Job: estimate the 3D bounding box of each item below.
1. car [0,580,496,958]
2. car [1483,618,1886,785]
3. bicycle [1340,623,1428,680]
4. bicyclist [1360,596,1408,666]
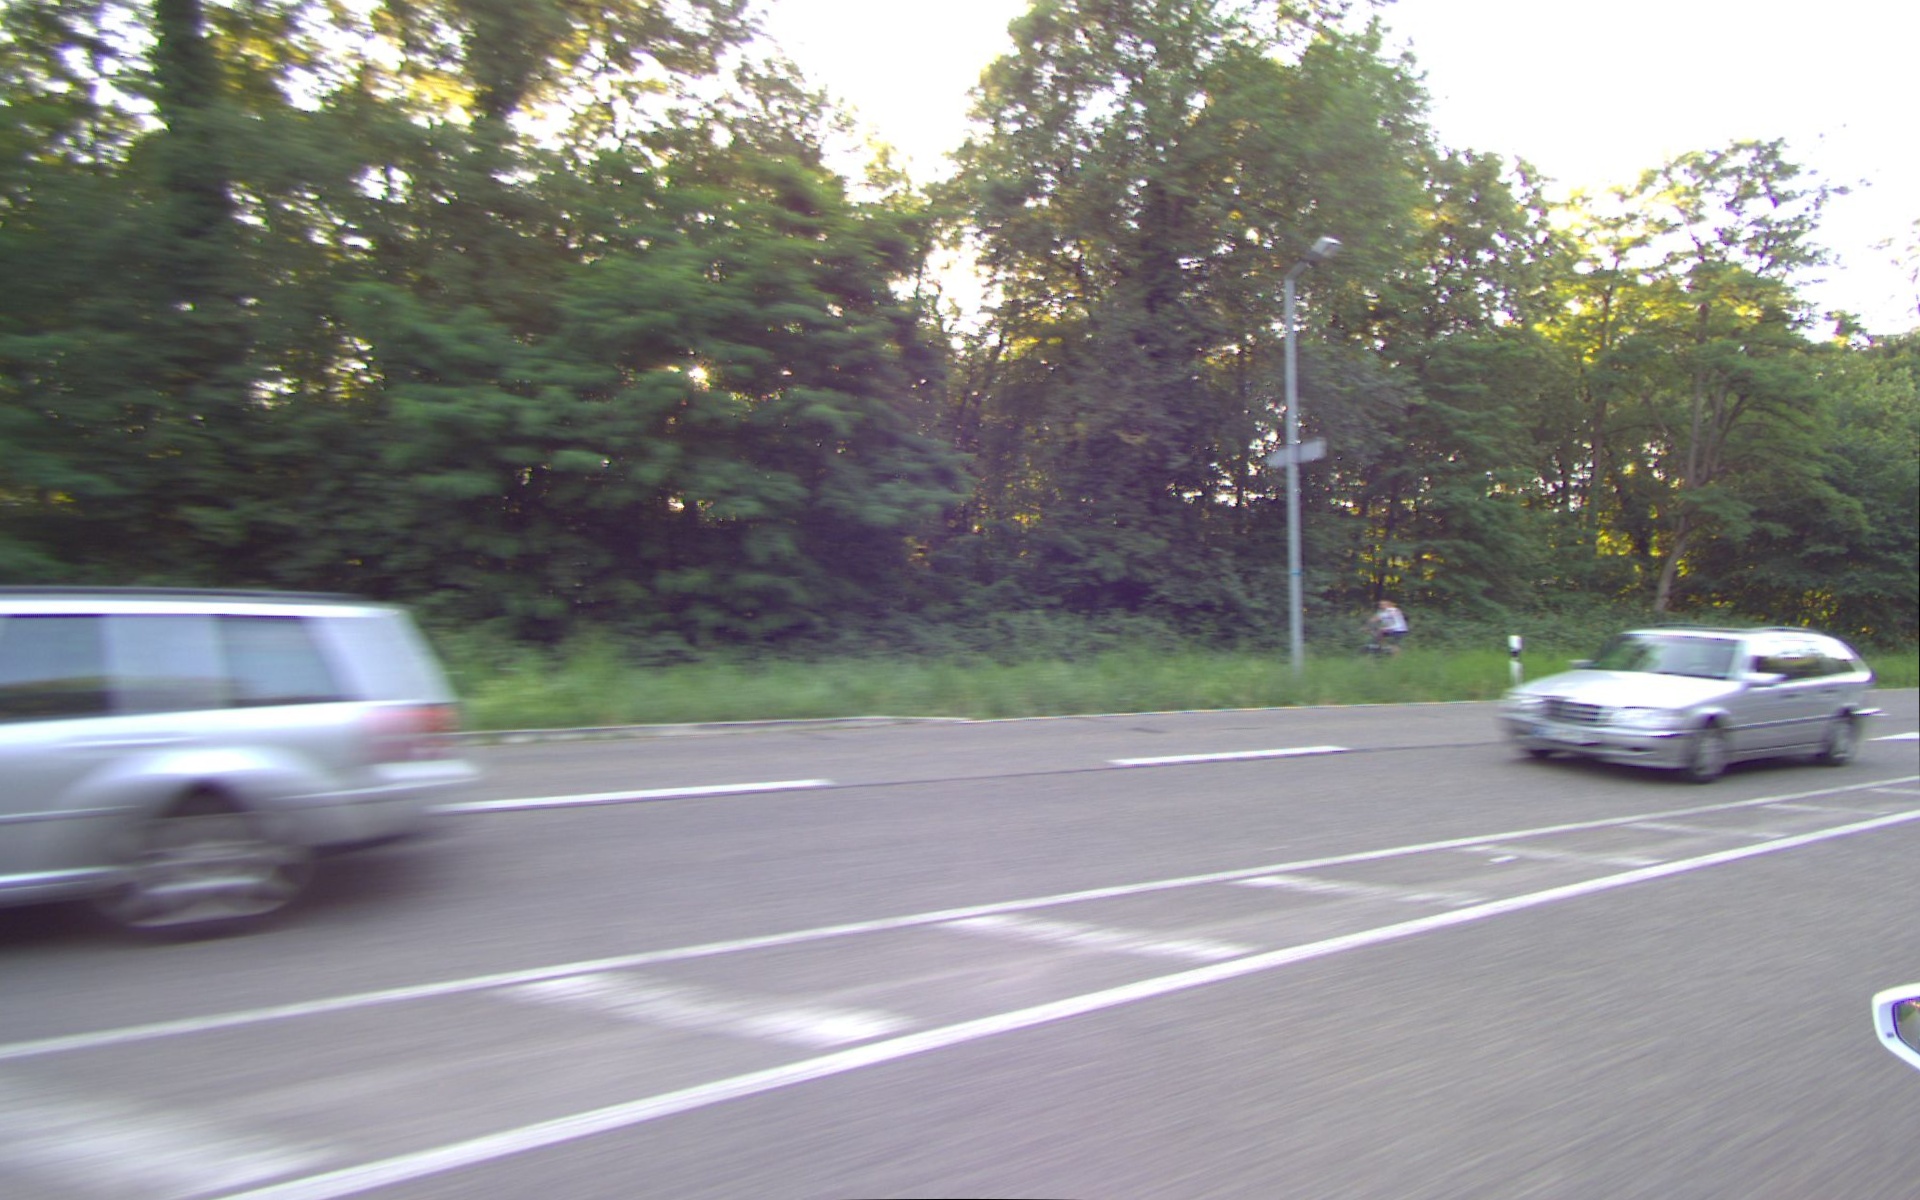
[{"bbox_3d":[-4.394,0.653,4.493,4.121,1.465,1.709,1,-1,-29],"label":"car"},{"bbox_3d":[7.637,0.929,10.519,4.320,1.416,1.713,1,0,-28],"label":"car"},{"bbox_3d":[9.534,1.126,22.538,2.235,1.234,0.627,1,-1,-31],"label":"bicycle"},{"bbox_3d":[9.502,0.689,22.525,0.837,1.531,0.617,0,0,-30],"label":"bicyclist"}]
